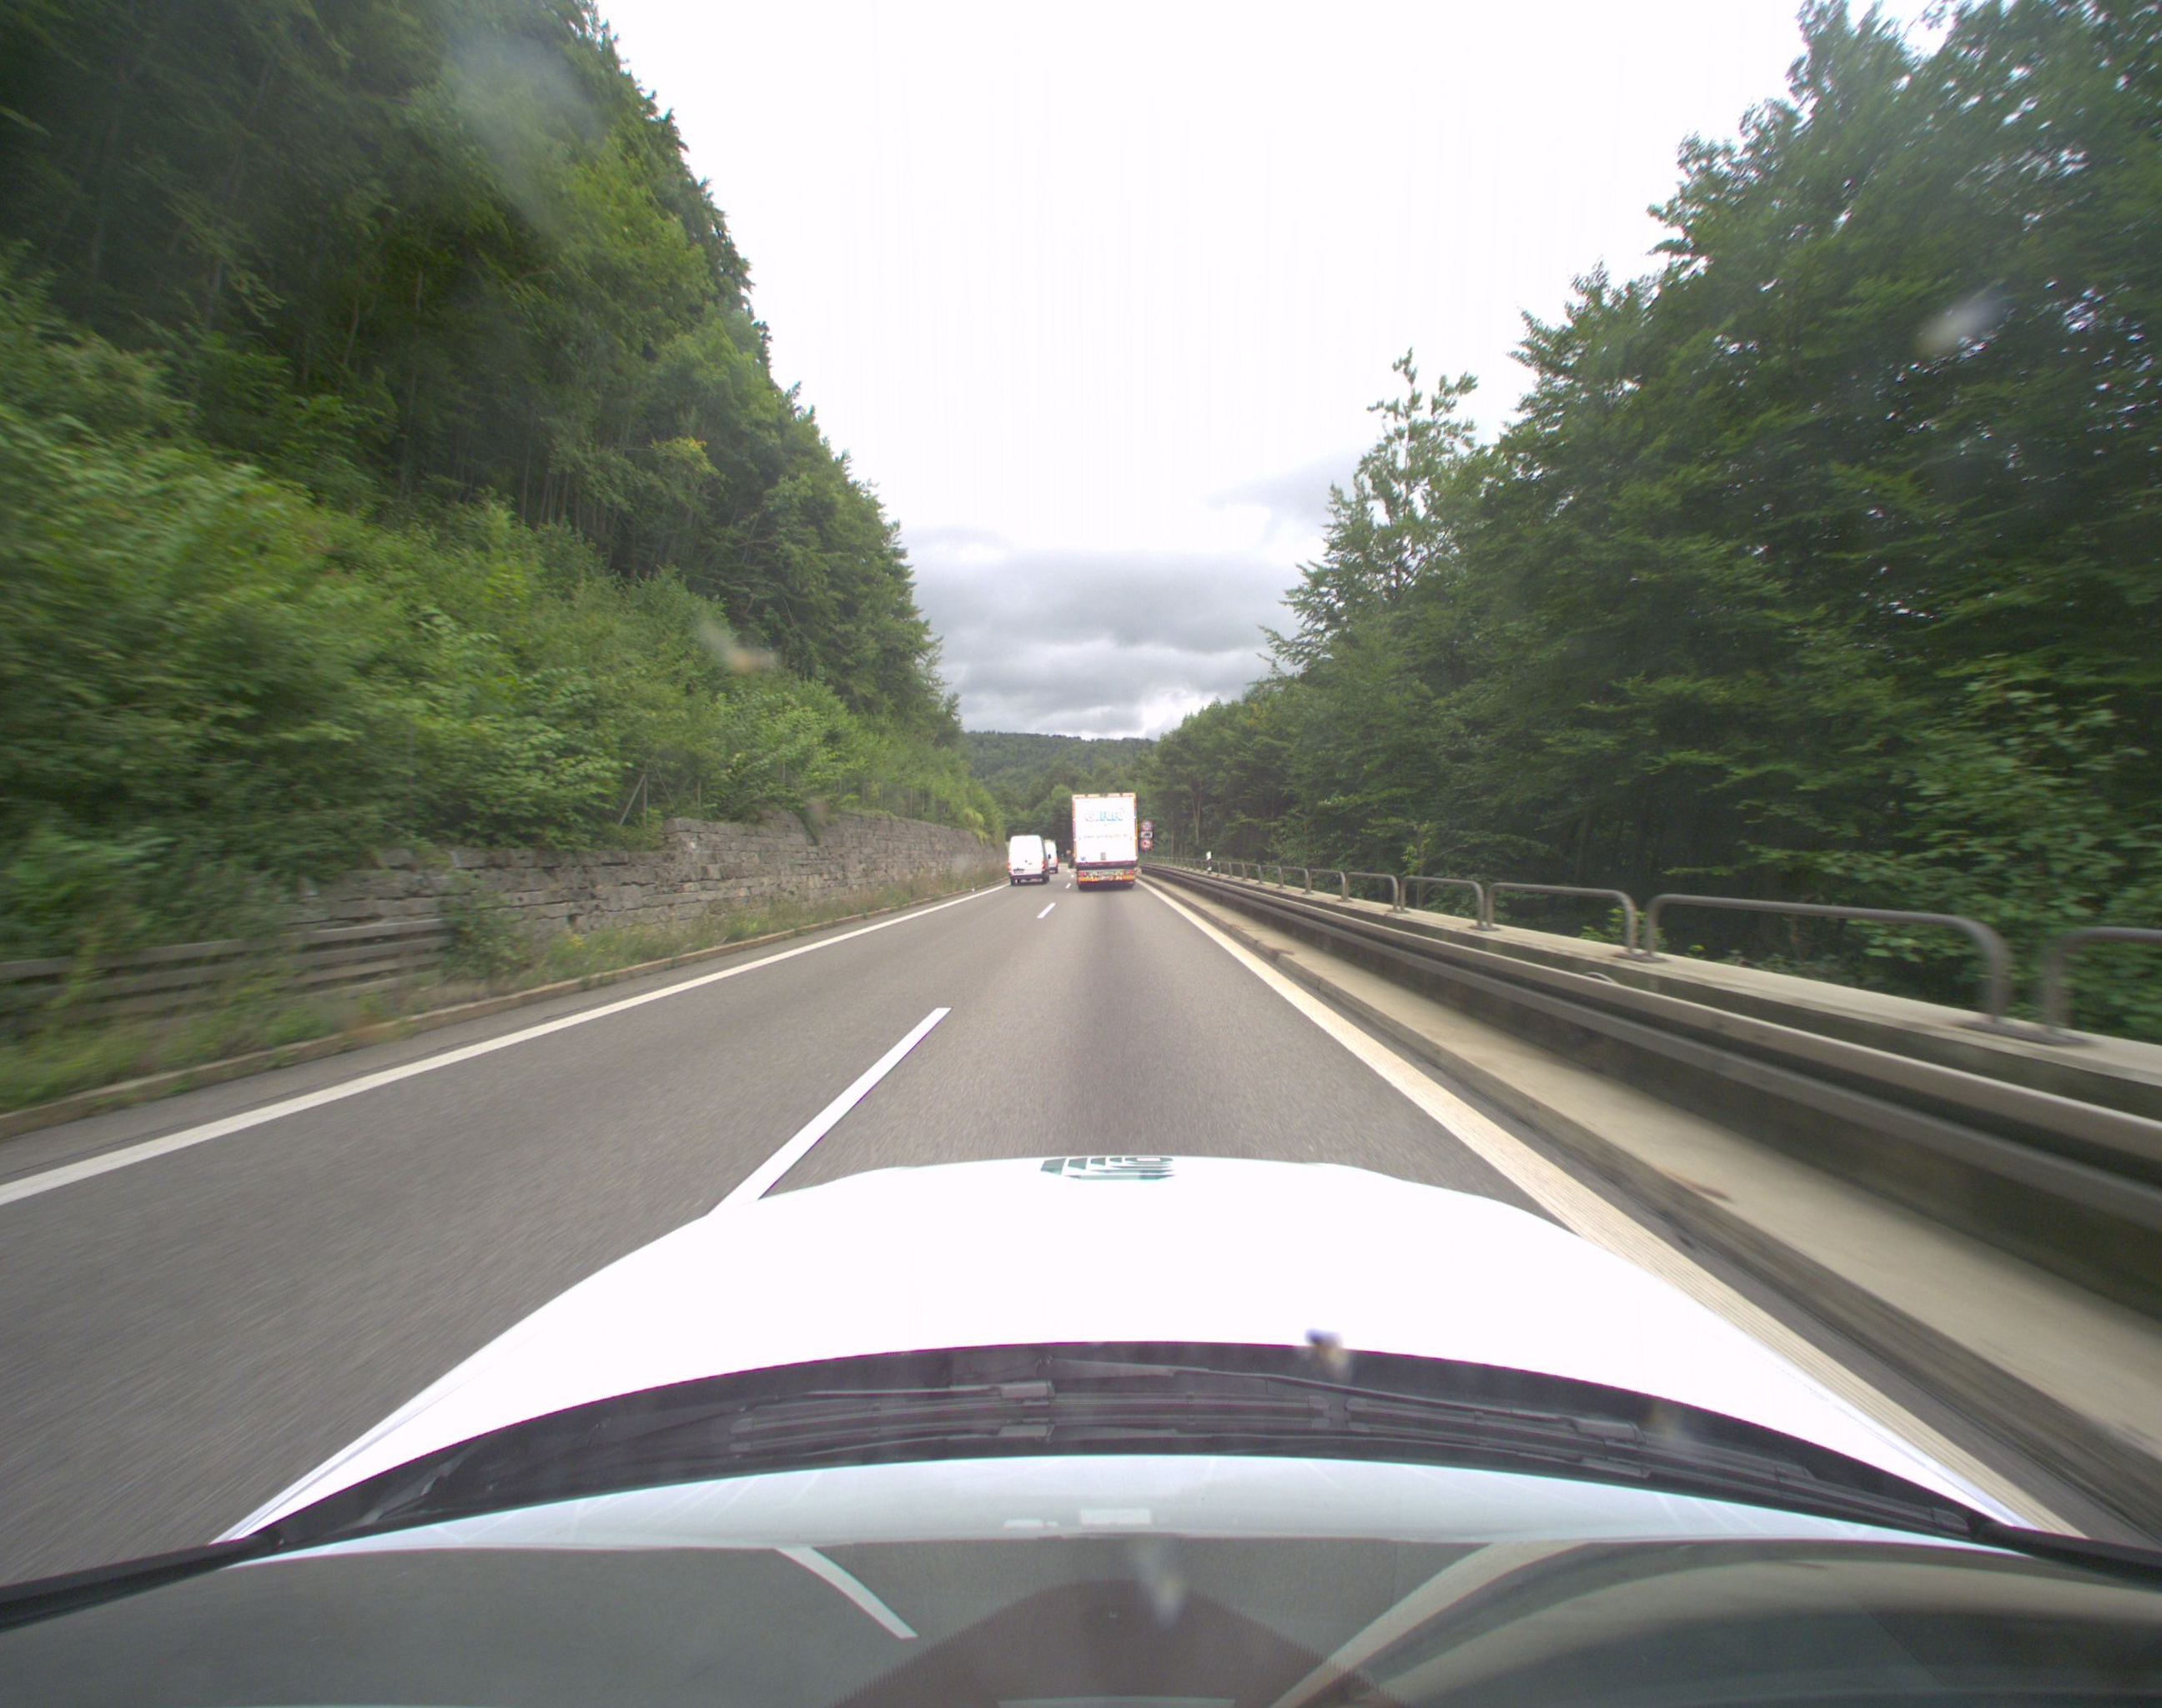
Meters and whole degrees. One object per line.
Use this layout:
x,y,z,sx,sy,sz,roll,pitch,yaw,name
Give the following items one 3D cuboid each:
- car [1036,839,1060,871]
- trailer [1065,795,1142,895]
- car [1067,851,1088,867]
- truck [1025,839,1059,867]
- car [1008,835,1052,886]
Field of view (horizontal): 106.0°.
-2.879,0.052,71.025,1.935,2.672,5.985,0,0,-3,car
0.973,-0.483,38.399,3.047,3.986,12.139,0,1,1,trailer
-0.362,0.498,88.115,1.990,1.662,3.993,0,0,-5,car
-6.259,-0.261,127.020,3.059,3.986,13.644,-3,1,-11,truck
-2.828,0.349,46.507,1.982,2.672,6.936,0,0,1,car
